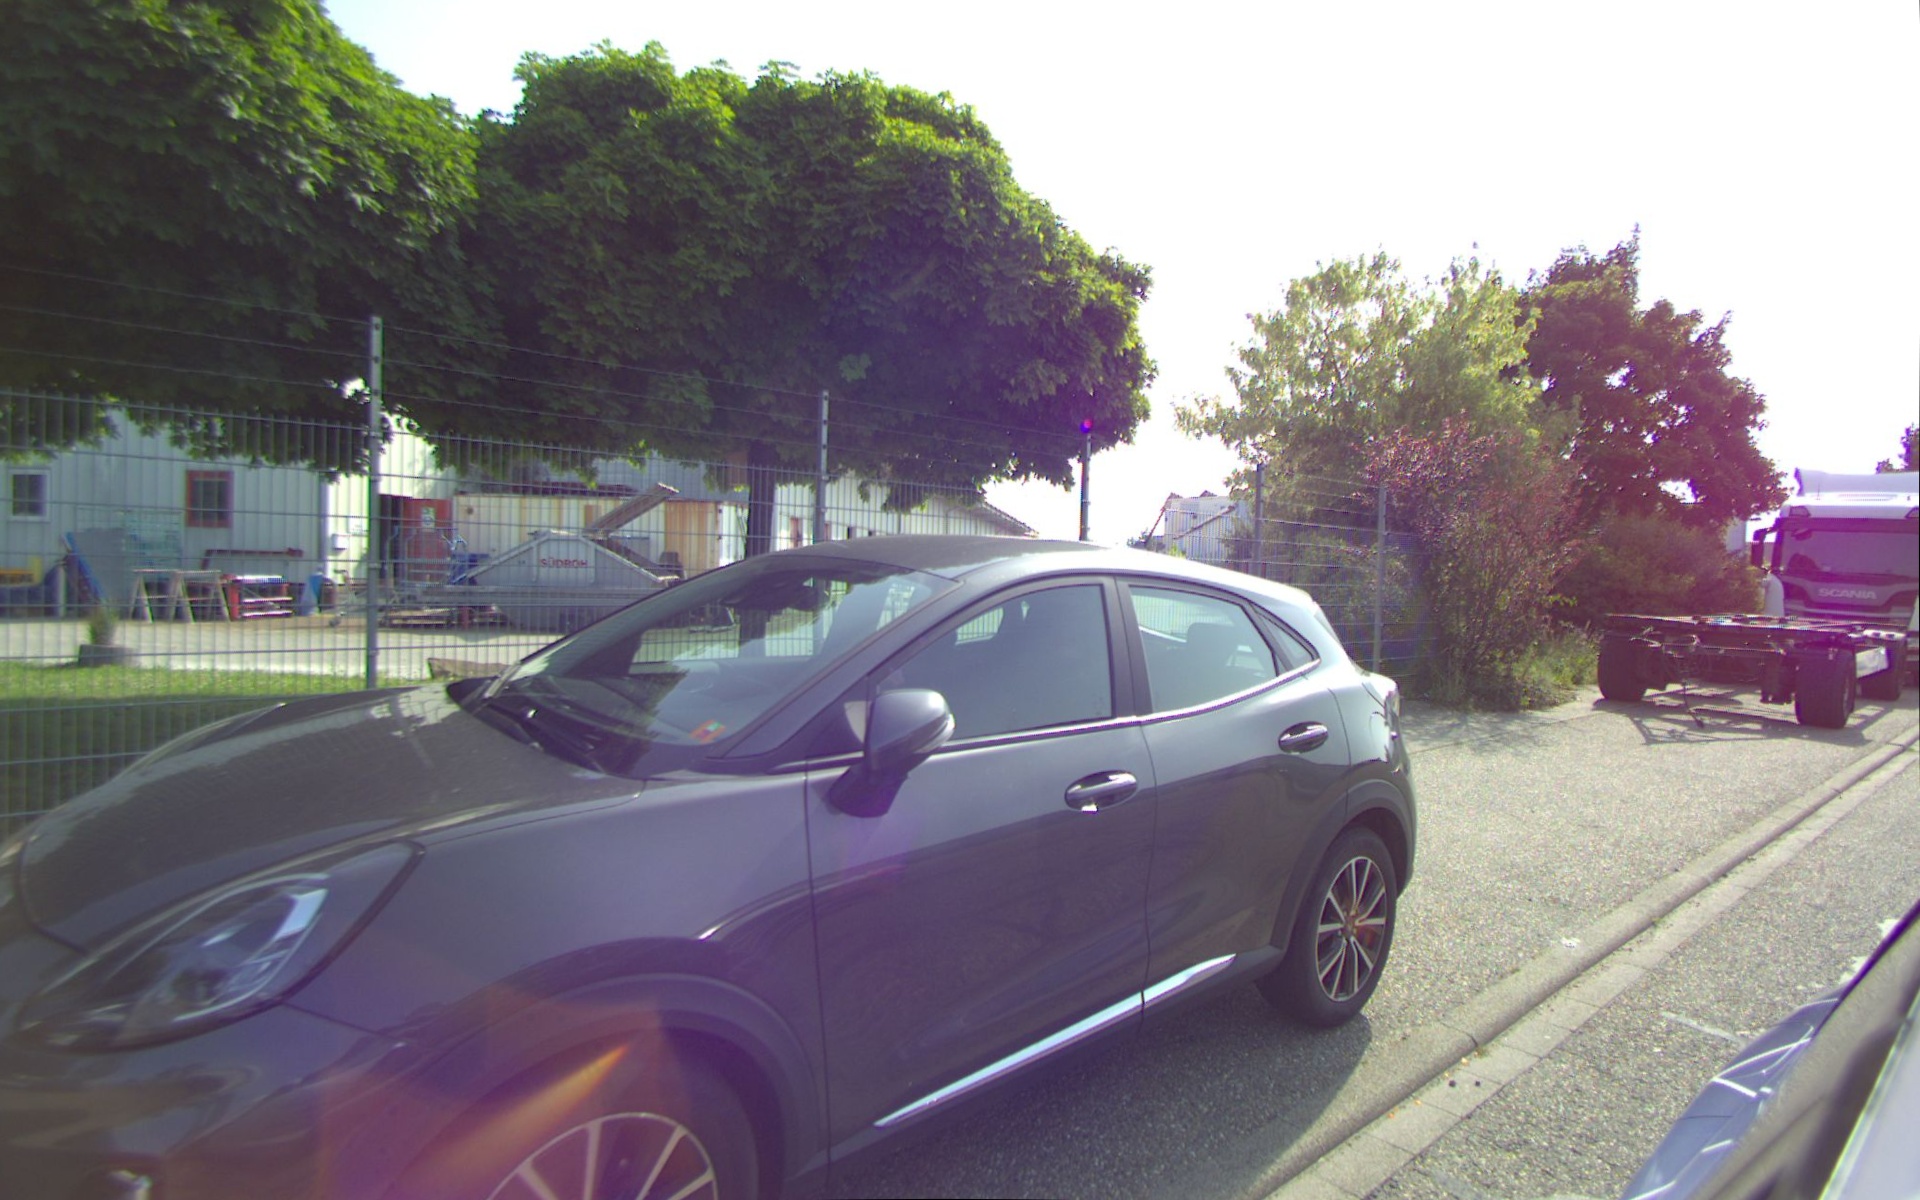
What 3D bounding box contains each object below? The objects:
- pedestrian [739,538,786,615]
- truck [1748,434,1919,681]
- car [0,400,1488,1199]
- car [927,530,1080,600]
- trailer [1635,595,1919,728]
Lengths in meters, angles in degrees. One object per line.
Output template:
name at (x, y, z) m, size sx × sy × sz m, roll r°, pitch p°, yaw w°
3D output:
pedestrian at (-4.615, -0.549, 23.650) m, size 0.847 × 1.743 × 0.628 m, roll 2°, pitch 1°, yaw 18°
truck at (17.325, -0.757, 19.080) m, size 5.945 × 4.011 × 2.697 m, roll 0°, pitch 4°, yaw -43°
car at (-0.265, 0.489, 3.064) m, size 4.041 × 1.593 × 1.885 m, roll -1°, pitch 4°, yaw -41°
car at (1.860, -1.491, 42.320) m, size 6.170 × 2.681 × 2.208 m, roll 2°, pitch 2°, yaw 9°
trailer at (11.397, 0.635, 13.712) m, size 7.323 × 1.250 × 1.943 m, roll 0°, pitch 4°, yaw -42°
